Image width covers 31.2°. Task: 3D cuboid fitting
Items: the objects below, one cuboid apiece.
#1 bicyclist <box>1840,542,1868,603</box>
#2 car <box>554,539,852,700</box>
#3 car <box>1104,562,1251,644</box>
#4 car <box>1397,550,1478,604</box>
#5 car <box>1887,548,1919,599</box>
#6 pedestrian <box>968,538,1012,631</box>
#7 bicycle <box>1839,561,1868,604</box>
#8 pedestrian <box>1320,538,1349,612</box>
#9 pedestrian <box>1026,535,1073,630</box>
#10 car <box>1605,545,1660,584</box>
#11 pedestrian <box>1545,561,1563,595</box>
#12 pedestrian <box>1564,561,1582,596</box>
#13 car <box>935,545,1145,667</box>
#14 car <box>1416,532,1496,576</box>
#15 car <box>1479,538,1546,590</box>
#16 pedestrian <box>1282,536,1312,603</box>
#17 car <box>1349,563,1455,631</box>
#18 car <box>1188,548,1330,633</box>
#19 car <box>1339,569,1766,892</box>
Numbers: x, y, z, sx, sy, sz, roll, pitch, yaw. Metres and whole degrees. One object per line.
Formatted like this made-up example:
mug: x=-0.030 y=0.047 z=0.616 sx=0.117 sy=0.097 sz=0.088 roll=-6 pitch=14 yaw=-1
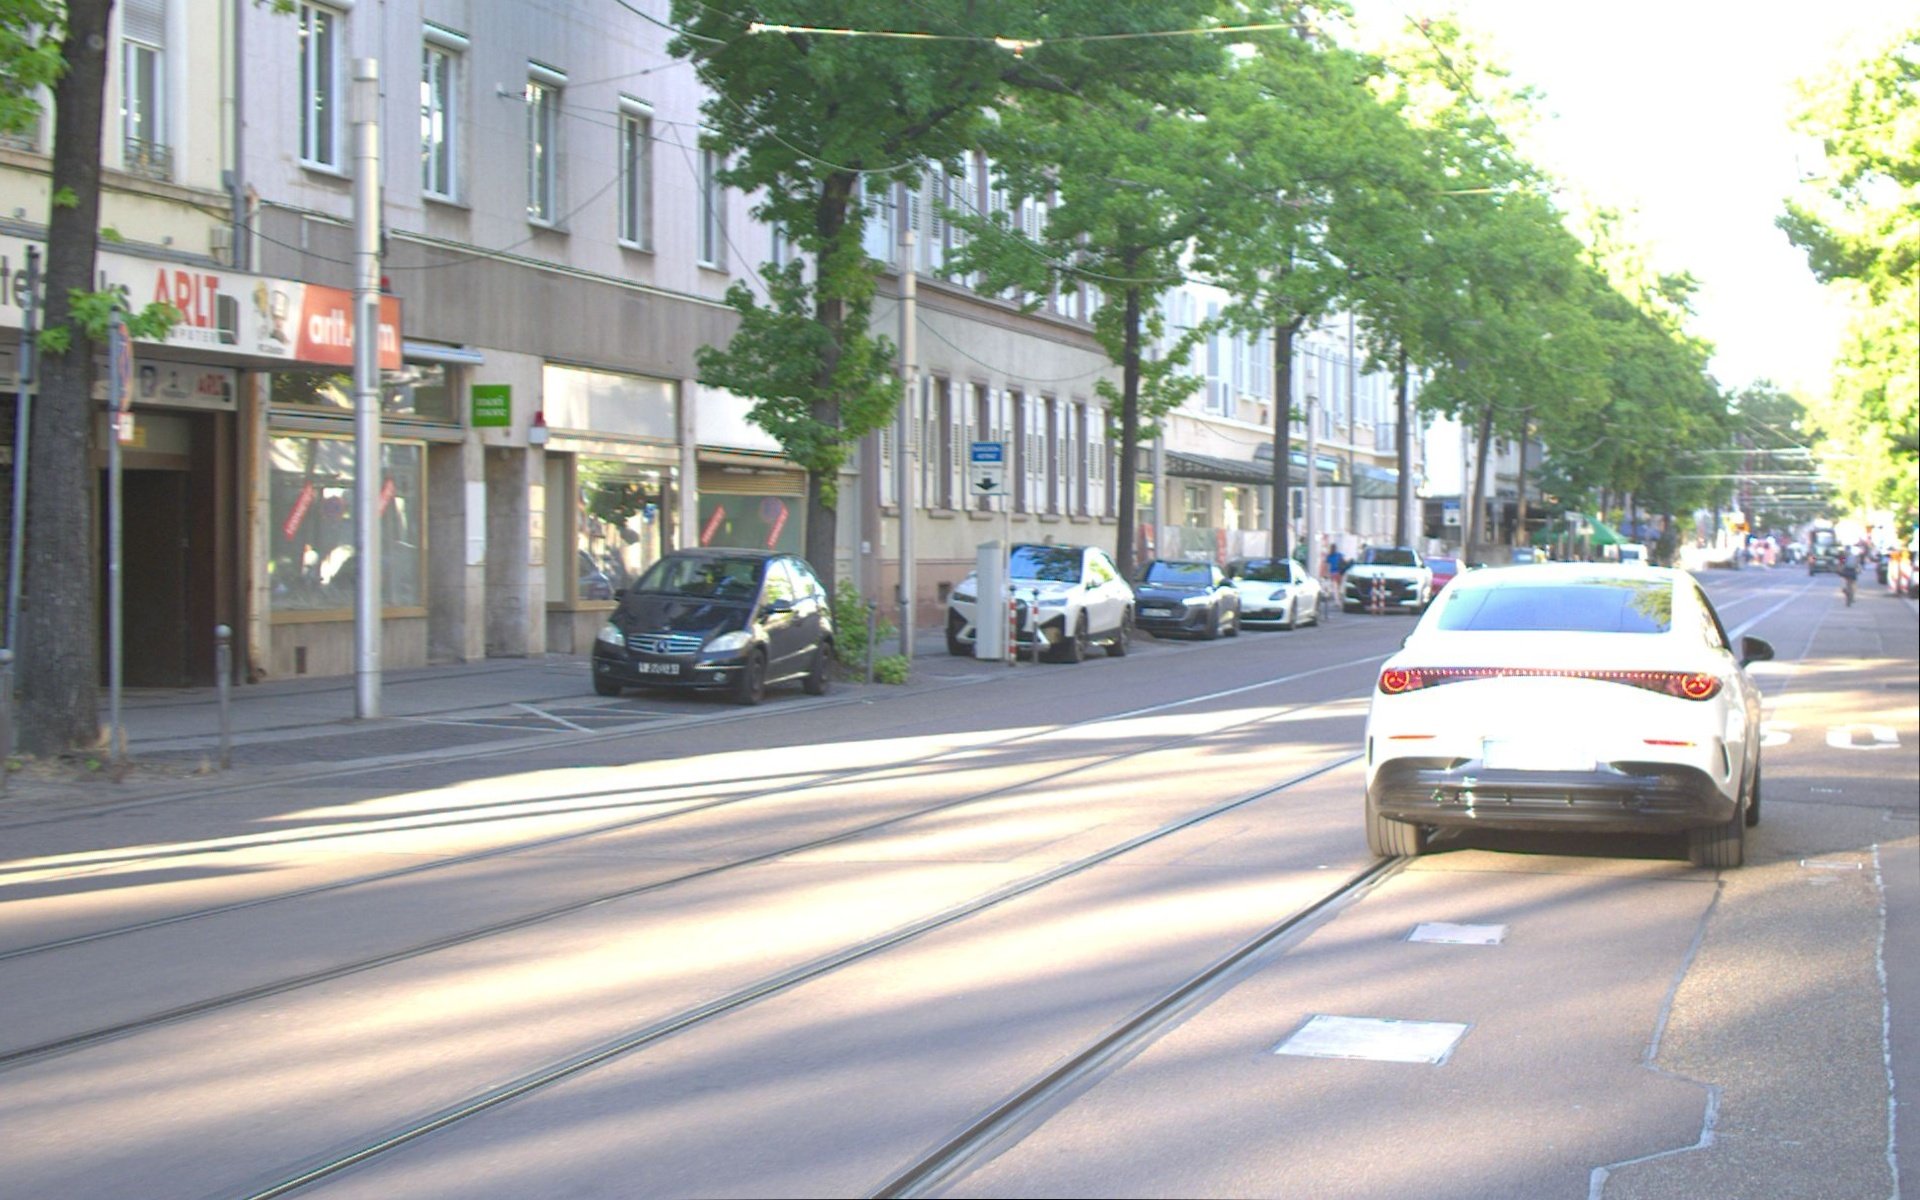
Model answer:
bicyclist: x=25.147 y=-0.772 z=96.683 sx=0.725 sy=1.697 sz=0.810 roll=0 pitch=0 yaw=15
car: x=-2.729 y=0.180 z=37.453 sx=1.963 sy=1.634 sz=3.997 roll=1 pitch=1 yaw=16
car: x=3.995 y=0.034 z=62.468 sx=1.963 sy=1.408 sz=4.844 roll=1 pitch=1 yaw=12
car: x=13.546 y=-0.658 z=97.442 sx=1.690 sy=1.494 sz=4.231 roll=1 pitch=1 yaw=16
car: x=33.034 y=-0.926 z=118.634 sx=1.995 sy=1.722 sz=4.238 roll=0 pitch=1 yaw=15
pedestrian: x=0.549 y=-0.287 z=62.922 sx=0.675 sy=1.674 sz=0.647 roll=0 pitch=1 yaw=15
bicycle: x=25.099 y=-0.492 z=96.558 sx=0.741 sy=1.184 sz=2.158 roll=0 pitch=0 yaw=16
pedestrian: x=10.036 y=-0.673 z=92.097 sx=0.708 sy=1.997 sz=0.675 roll=0 pitch=1 yaw=14
pedestrian: x=1.627 y=-0.317 z=62.476 sx=0.686 sy=1.715 sz=0.656 roll=1 pitch=1 yaw=15
car: x=35.035 y=-1.843 z=179.012 sx=1.996 sy=2.007 sz=3.995 roll=0 pitch=1 yaw=23
pedestrian: x=25.471 y=-0.957 z=147.425 sx=0.570 sy=1.459 sz=0.649 roll=1 pitch=1 yaw=34
pedestrian: x=26.492 y=-0.944 z=148.592 sx=0.517 sy=1.473 sz=0.650 roll=-2 pitch=-1 yaw=-12
car: x=1.258 y=0.060 z=51.484 sx=1.963 sy=1.634 sz=4.809 roll=3 pitch=1 yaw=15
car: x=15.214 y=-1.412 z=105.256 sx=1.995 sy=1.288 sz=3.997 roll=1 pitch=1 yaw=15
car: x=19.031 y=-1.248 z=118.439 sx=1.554 sy=1.790 sz=3.163 roll=0 pitch=1 yaw=23
pedestrian: x=9.061 y=-0.831 z=92.482 sx=0.708 sy=1.800 sz=0.675 roll=0 pitch=1 yaw=15
car: x=11.345 y=-0.094 z=88.040 sx=1.963 sy=1.686 sz=5.009 roll=1 pitch=1 yaw=16
car: x=6.146 y=-0.201 z=70.119 sx=1.948 sy=1.634 sz=4.905 roll=1 pitch=1 yaw=16
car: x=3.171 y=0.572 z=17.774 sx=1.869 sy=1.464 sz=4.040 roll=0 pitch=0 yaw=14
